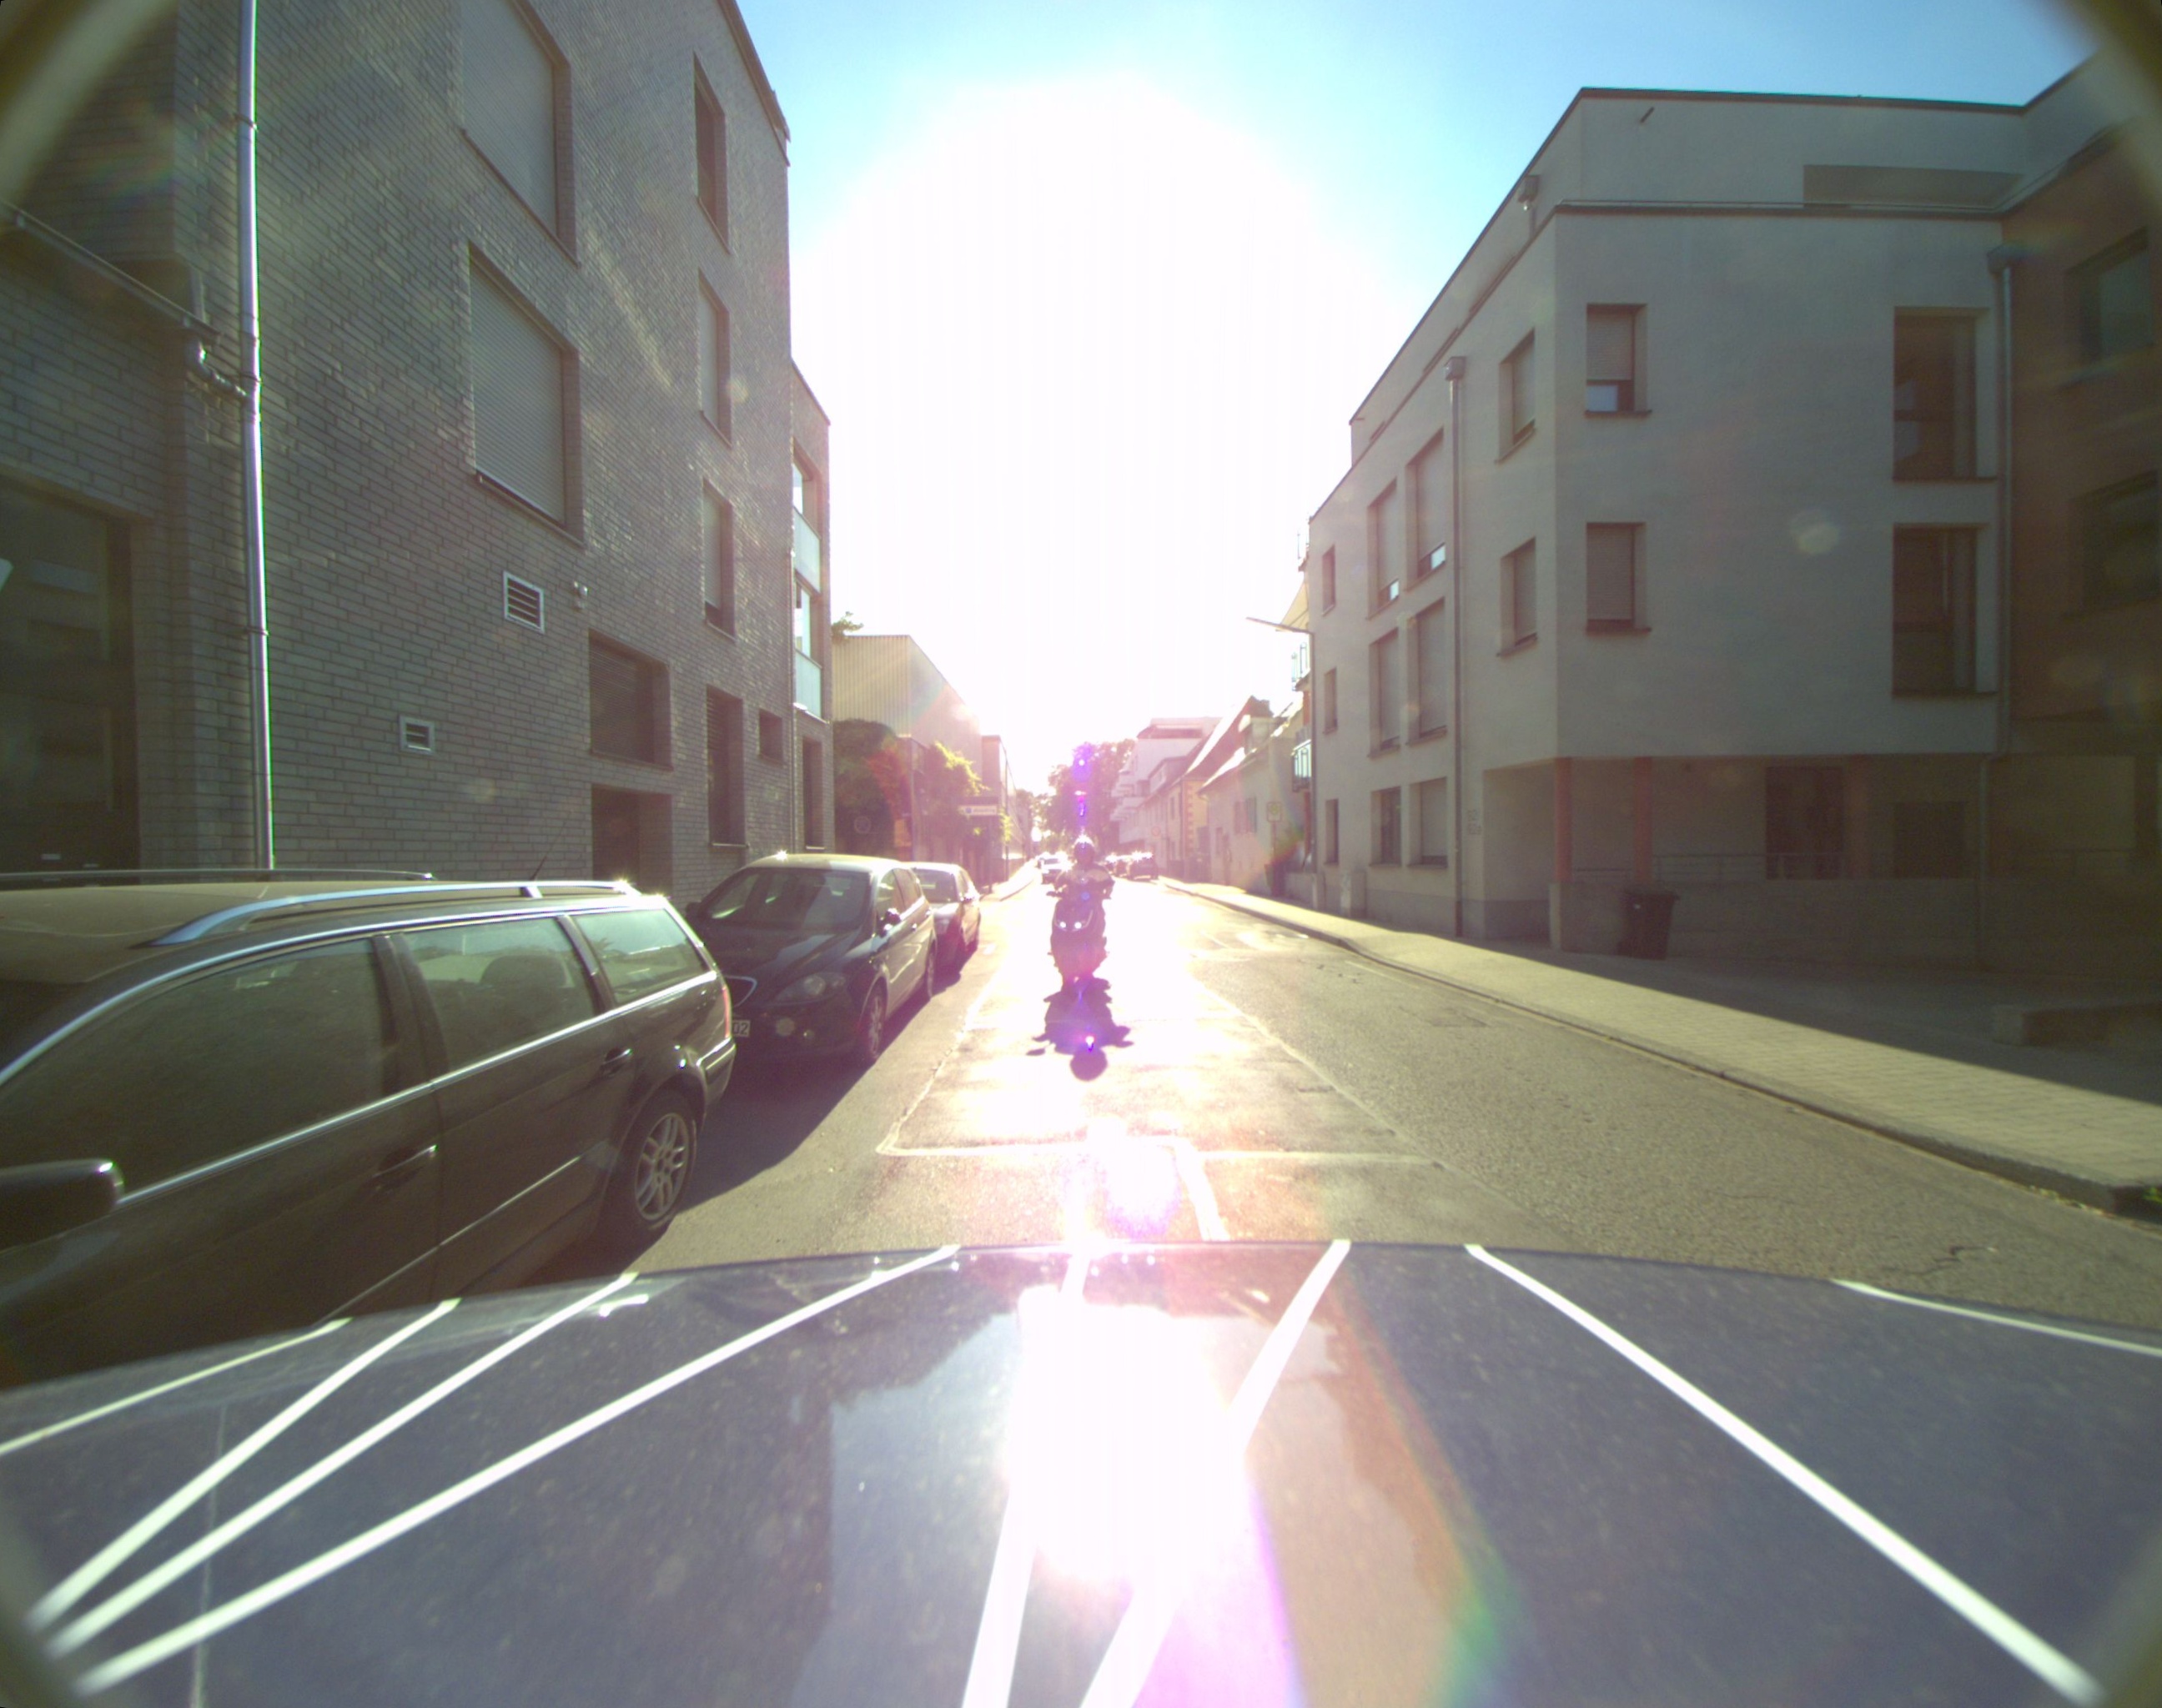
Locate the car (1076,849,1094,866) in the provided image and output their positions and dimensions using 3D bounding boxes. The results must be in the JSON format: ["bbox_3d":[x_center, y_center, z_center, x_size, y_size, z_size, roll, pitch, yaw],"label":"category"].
[{"bbox_3d":[0.408,0.339,78.882,1.736,1.456,3.998,-4,2,-1],"label":"car"}]

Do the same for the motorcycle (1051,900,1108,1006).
[{"bbox_3d":[-0.006,1.115,9.056,0.598,1.004,1.821,-1,1,1],"label":"motorcycle"}]

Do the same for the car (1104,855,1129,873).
[{"bbox_3d":[3.162,0.859,68.073,1.999,1.458,3.999,-1,1,-1],"label":"car"}]

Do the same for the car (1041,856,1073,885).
[{"bbox_3d":[-1.452,0.959,45.901,1.708,1.570,3.914,-3,1,-2],"label":"car"}]

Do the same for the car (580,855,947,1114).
[{"bbox_3d":[-2.345,0.815,6.877,1.655,1.582,4.341,1,0,-3],"label":"car"}]

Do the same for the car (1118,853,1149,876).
[{"bbox_3d":[3.962,0.763,57.648,1.999,1.614,3.999,-1,1,-1],"label":"car"}]

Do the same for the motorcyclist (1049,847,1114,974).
[{"bbox_3d":[0.010,0.636,8.970,0.717,1.424,0.746,-1,1,0],"label":"motorcyclist"}]

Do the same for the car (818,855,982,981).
[{"bbox_3d":[-2.500,0.803,11.344,1.732,1.515,3.652,-1,1,-3],"label":"car"}]

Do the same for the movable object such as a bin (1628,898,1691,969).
[{"bbox_3d":[7.536,1.028,9.915,0.491,0.871,0.433,-1,1,-3],"label":"movable object such as a bin"}]

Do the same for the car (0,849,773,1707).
[{"bbox_3d":[-2.469,0.875,1.629,1.671,1.724,4.838,-1,1,-1],"label":"car"}]

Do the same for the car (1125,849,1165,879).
[{"bbox_3d":[4.098,0.592,49.237,1.999,1.619,3.999,-8,1,-1],"label":"car"}]
